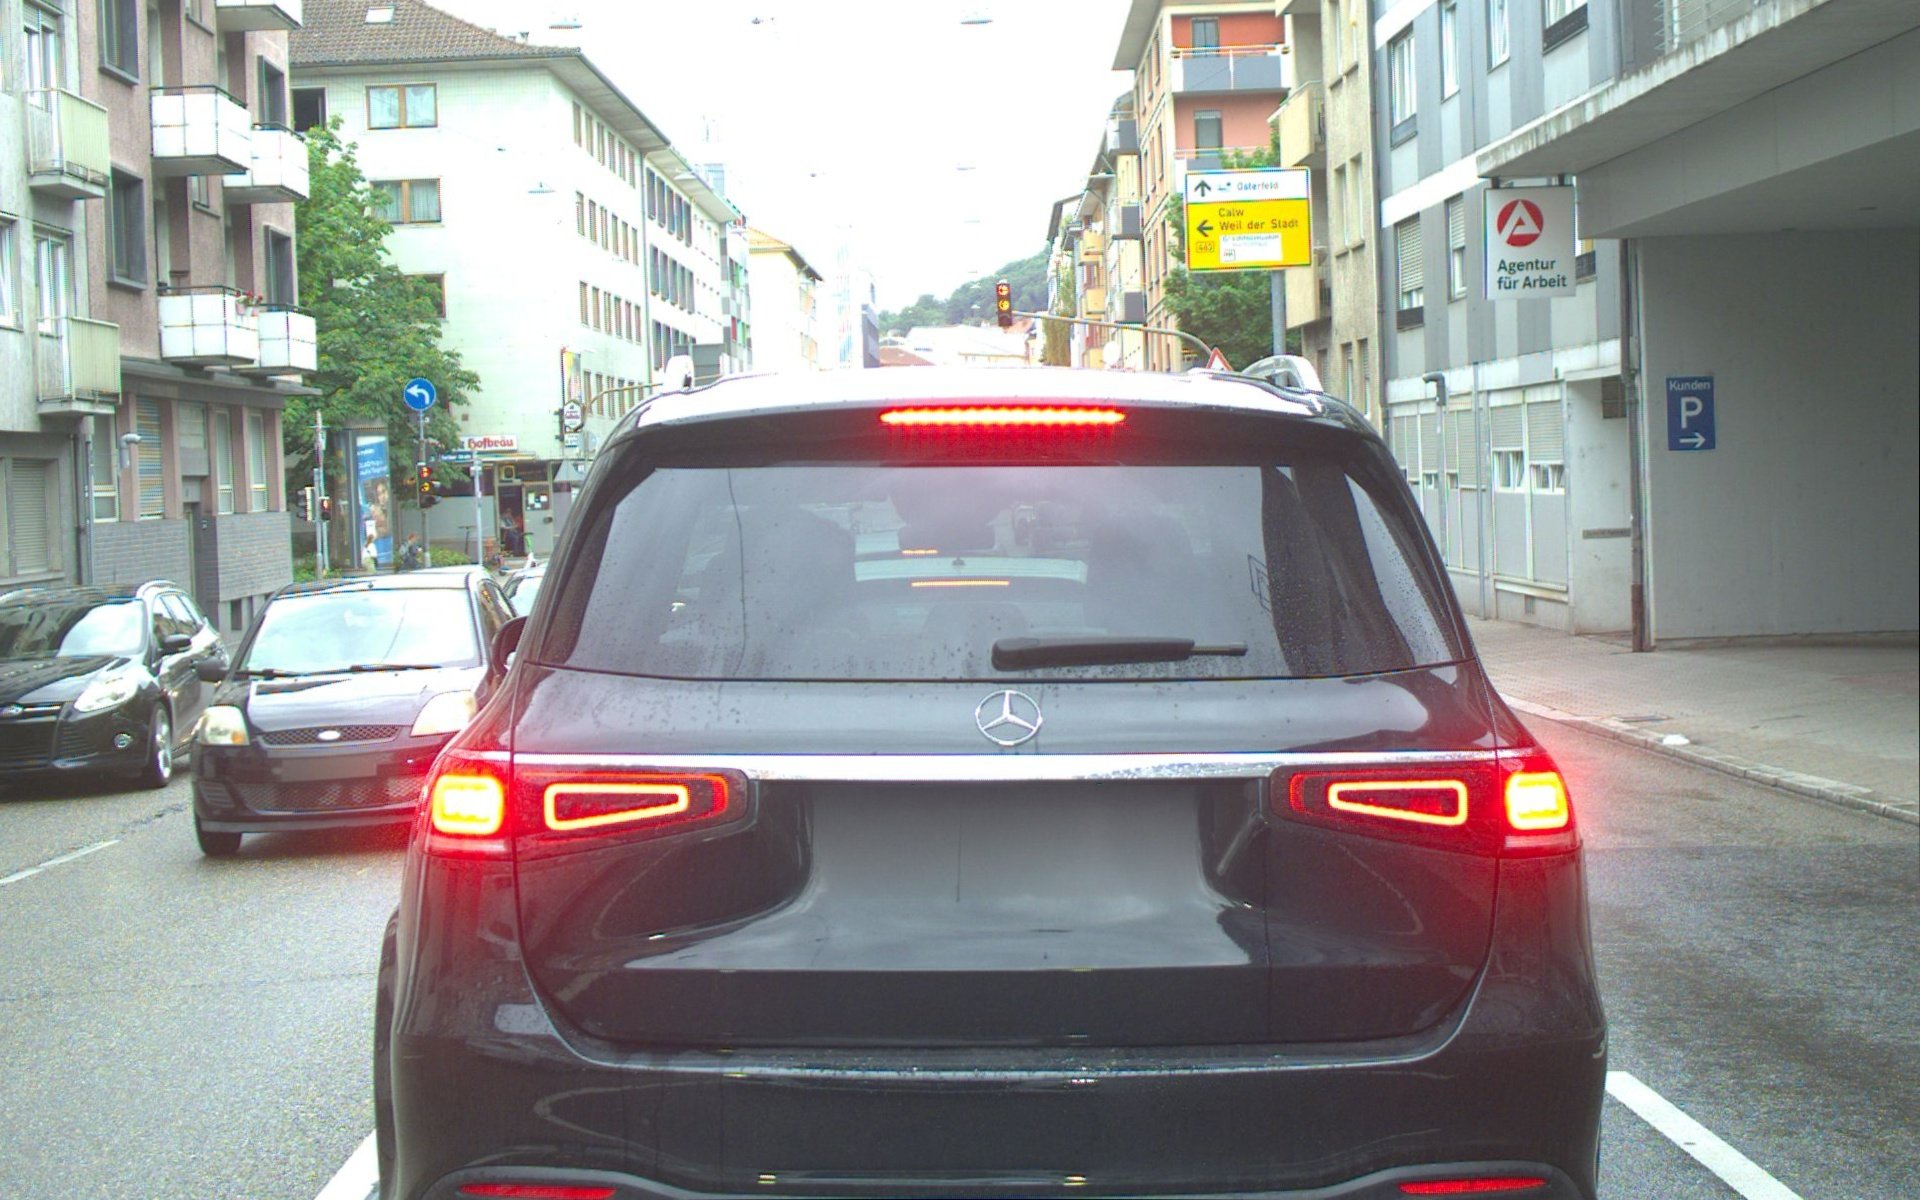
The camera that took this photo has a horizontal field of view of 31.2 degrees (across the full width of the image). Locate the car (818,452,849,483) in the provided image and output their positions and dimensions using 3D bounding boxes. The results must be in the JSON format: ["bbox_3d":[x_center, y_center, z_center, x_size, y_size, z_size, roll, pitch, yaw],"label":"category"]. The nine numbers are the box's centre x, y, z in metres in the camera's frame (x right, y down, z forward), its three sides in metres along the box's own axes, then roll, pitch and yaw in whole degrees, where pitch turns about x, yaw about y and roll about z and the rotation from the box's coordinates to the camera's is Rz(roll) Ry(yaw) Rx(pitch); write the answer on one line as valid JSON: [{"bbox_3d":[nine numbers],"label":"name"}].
[{"bbox_3d":[-7.153,-7.465,193.642,1.618,1.534,4.218,-3,1,-3],"label":"car"}]

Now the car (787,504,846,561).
[{"bbox_3d":[-4.238,-1.973,101.228,1.618,1.534,4.218,-3,1,-3],"label":"car"}]

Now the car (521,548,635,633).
[{"bbox_3d":[-6.872,-0.200,62.151,1.598,1.365,4.363,-4,1,-2],"label":"car"}]

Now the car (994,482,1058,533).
[{"bbox_3d":[2.027,-2.839,106.096,1.618,1.382,4.218,-3,1,-3],"label":"car"}]

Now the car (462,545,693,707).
[{"bbox_3d":[-3.633,0.222,33.310,1.695,1.365,4.218,-4,0,0],"label":"car"}]

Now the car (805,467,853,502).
[{"bbox_3d":[-5.518,-4.829,144.593,1.885,1.260,4.218,-3,1,-3],"label":"car"}]

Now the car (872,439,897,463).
[{"bbox_3d":[-5.478,-10.838,250.113,1.618,1.534,4.218,-3,1,-3],"label":"car"}]

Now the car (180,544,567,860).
[{"bbox_3d":[-3.257,0.505,19.803,1.618,1.534,4.218,-3,1,-3],"label":"car"}]

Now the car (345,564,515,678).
[{"bbox_3d":[-7.183,0.252,46.945,1.694,1.365,4.367,-4,1,-2],"label":"car"}]

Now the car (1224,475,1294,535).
[{"bbox_3d":[8.215,-2.611,94.615,1.671,1.583,3.330,-2,1,2],"label":"car"}]

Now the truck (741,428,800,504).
[{"bbox_3d":[-8.621,-6.077,157.014,2.479,3.035,9.921,-3,1,-3],"label":"truck"}]

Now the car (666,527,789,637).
[{"bbox_3d":[-3.651,-0.285,54.468,1.694,1.575,4.218,-4,0,-2],"label":"car"}]

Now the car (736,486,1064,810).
[{"bbox_3d":[-0.429,0.243,20.842,1.751,1.725,4.218,-1,1,-3],"label":"car"}]

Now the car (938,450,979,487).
[{"bbox_3d":[-0.090,-6.178,162.046,1.618,1.534,4.218,-3,1,-3],"label":"car"}]

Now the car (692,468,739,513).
[{"bbox_3d":[-9.328,-4.185,131.596,1.618,1.534,4.218,-3,1,-3],"label":"car"}]

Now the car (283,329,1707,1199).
[{"bbox_3d":[0.021,0.511,7.029,1.985,1.799,4.390,1,1,-1],"label":"car"}]

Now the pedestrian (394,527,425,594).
[{"bbox_3d":[-14.682,-1.044,91.661,0.635,1.758,0.773,-3,1,-16],"label":"pedestrian"}]

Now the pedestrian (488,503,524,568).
[{"bbox_3d":[-13.443,-1.915,101.910,0.923,1.895,0.706,-2,1,-2],"label":"pedestrian"}]

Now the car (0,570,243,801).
[{"bbox_3d":[-6.666,0.592,25.776,1.723,1.468,4.375,-4,1,-2],"label":"car"}]

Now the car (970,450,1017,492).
[{"bbox_3d":[1.376,-5.340,143.092,1.618,1.534,4.218,-3,1,-3],"label":"car"}]
